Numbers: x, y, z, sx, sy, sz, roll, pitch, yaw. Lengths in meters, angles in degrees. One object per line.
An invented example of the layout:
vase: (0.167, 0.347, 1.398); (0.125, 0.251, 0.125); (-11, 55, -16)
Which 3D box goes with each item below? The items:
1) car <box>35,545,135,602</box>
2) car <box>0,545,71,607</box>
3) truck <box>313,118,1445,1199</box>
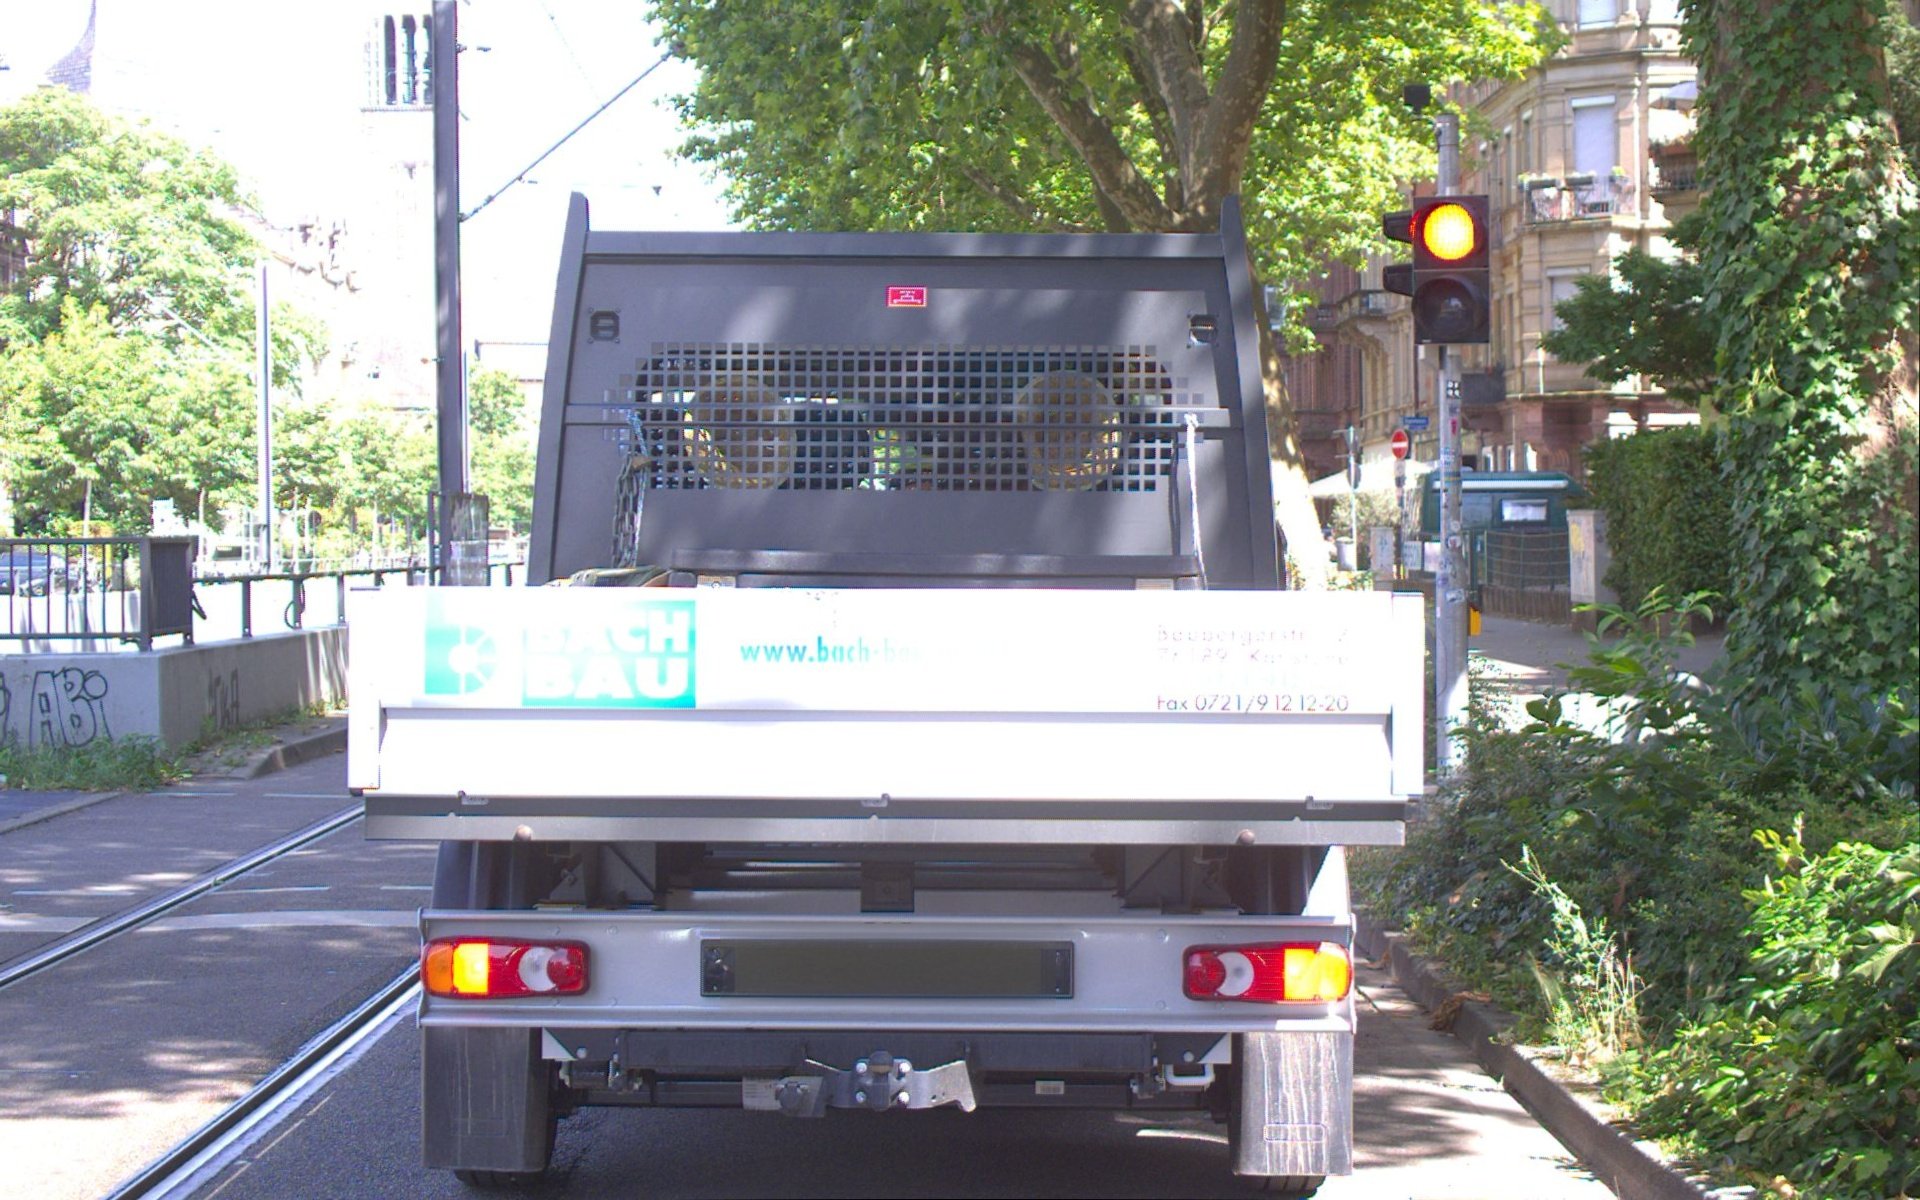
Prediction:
car: (-23.724, -0.744, 93.318); (1.770, 1.493, 4.000); (-1, 1, -2)
car: (-23.460, -0.603, 85.482); (1.770, 1.493, 4.000); (-1, 1, -2)
truck: (-0.144, 0.203, 8.711); (2.138, 2.311, 4.402); (0, 1, 0)
